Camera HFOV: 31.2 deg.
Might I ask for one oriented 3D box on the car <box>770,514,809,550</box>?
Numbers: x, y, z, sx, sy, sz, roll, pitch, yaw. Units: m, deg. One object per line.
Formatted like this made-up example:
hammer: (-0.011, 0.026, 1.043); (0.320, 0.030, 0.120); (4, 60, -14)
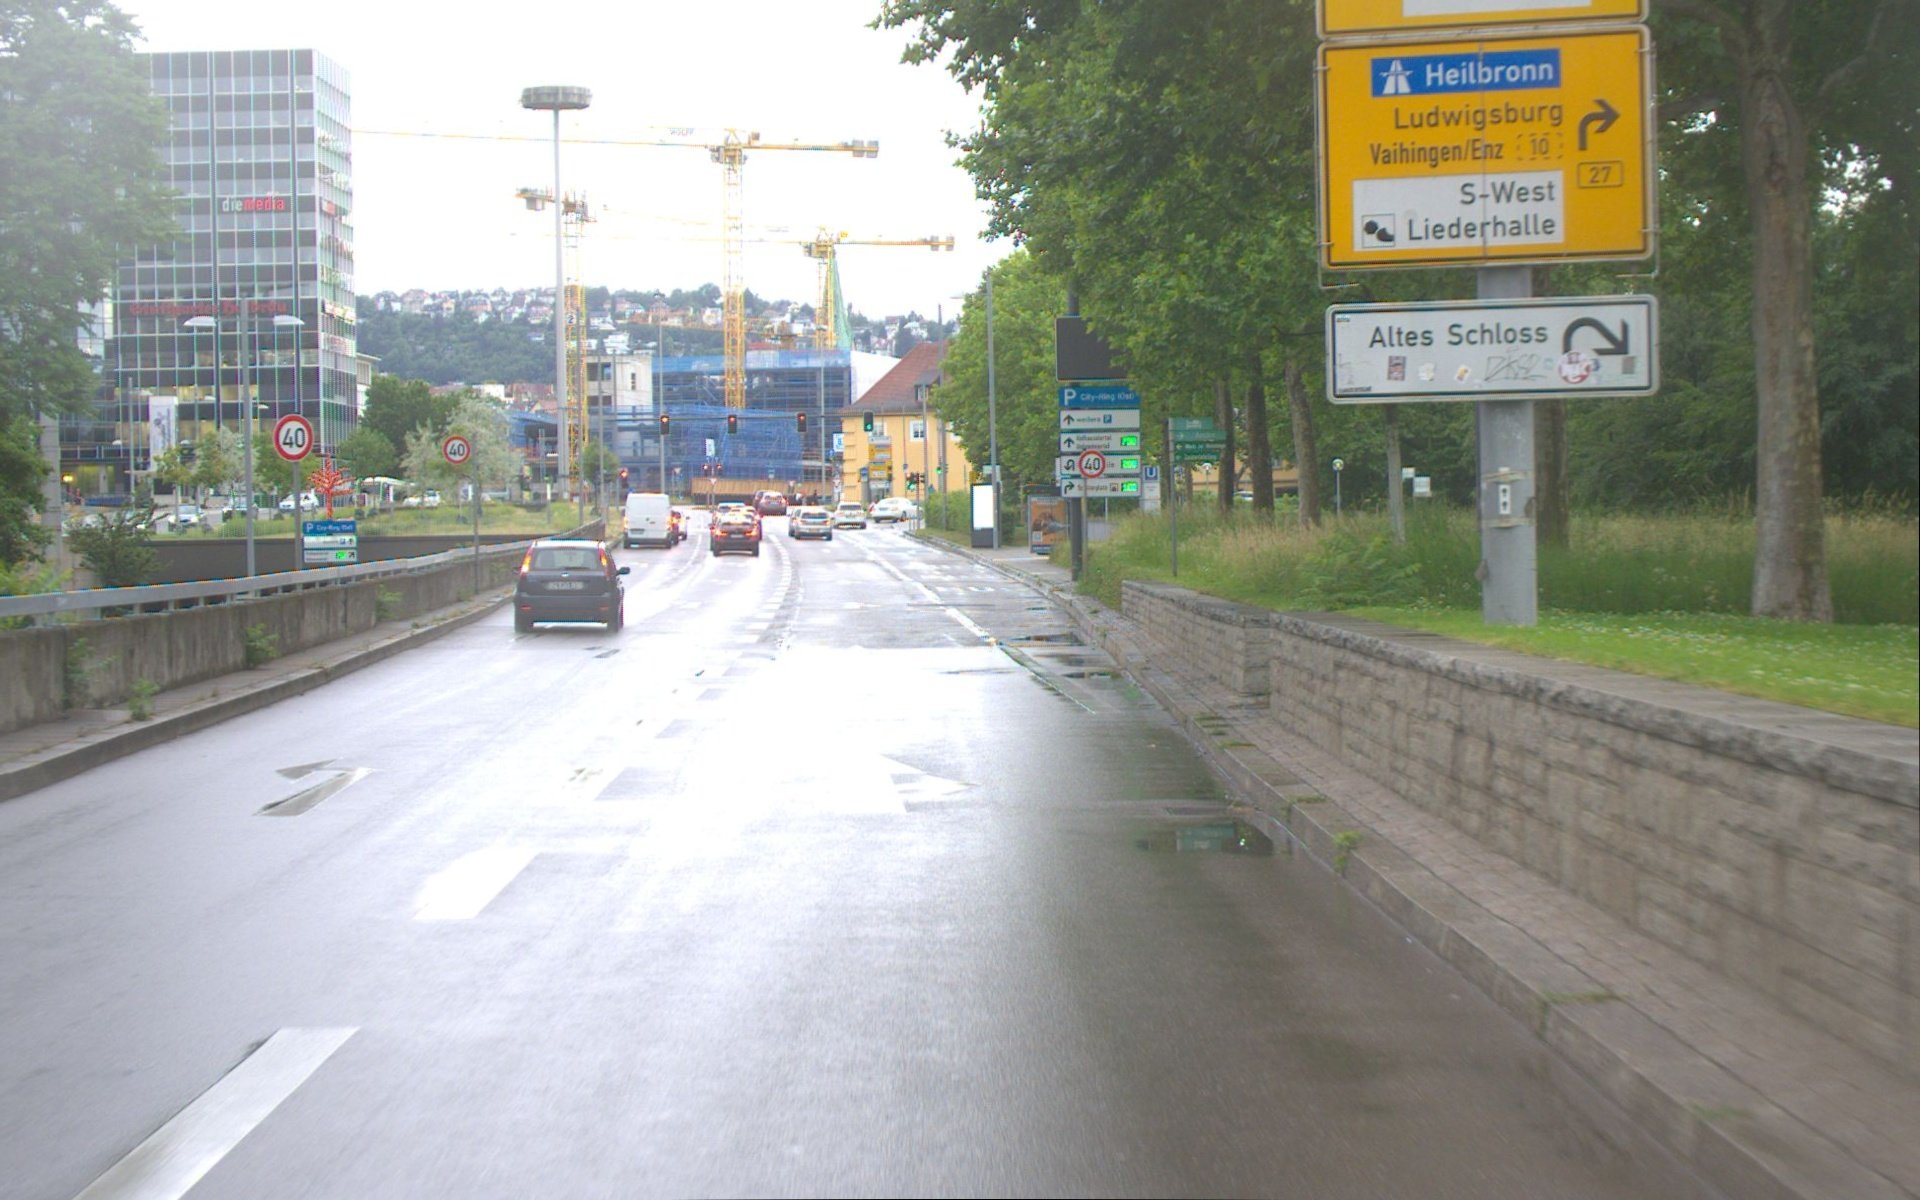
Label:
car: (-8.526, -3.392, 171.854); (1.712, 1.684, 3.849); (-2, 0, -1)

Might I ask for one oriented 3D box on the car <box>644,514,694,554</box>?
car: (-13.779, -3.122, 163.101); (1.993, 1.776, 4.000); (-2, 0, -1)

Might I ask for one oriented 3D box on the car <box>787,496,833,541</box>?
car: (-7.144, -3.879, 164.013); (1.987, 2.007, 4.000); (-2, 0, -1)

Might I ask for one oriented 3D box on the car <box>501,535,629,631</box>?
car: (-6.334, -0.263, 54.840); (1.843, 1.411, 3.840); (-2, 0, -9)

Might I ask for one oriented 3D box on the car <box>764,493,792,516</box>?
car: (-12.257, -6.421, 231.601); (1.721, 1.552, 3.584); (-1, 1, -1)

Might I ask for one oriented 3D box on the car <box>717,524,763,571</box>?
car: (-8.696, -2.067, 135.952); (1.739, 1.765, 4.000); (-2, 0, -4)

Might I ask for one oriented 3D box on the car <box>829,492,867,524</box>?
car: (-6.186, -5.074, 190.303); (1.993, 1.594, 4.000); (-2, 0, -1)

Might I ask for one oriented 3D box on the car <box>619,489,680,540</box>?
car: (-13.169, -3.613, 145.975); (2.219, 2.007, 4.000); (-2, 0, -1)
